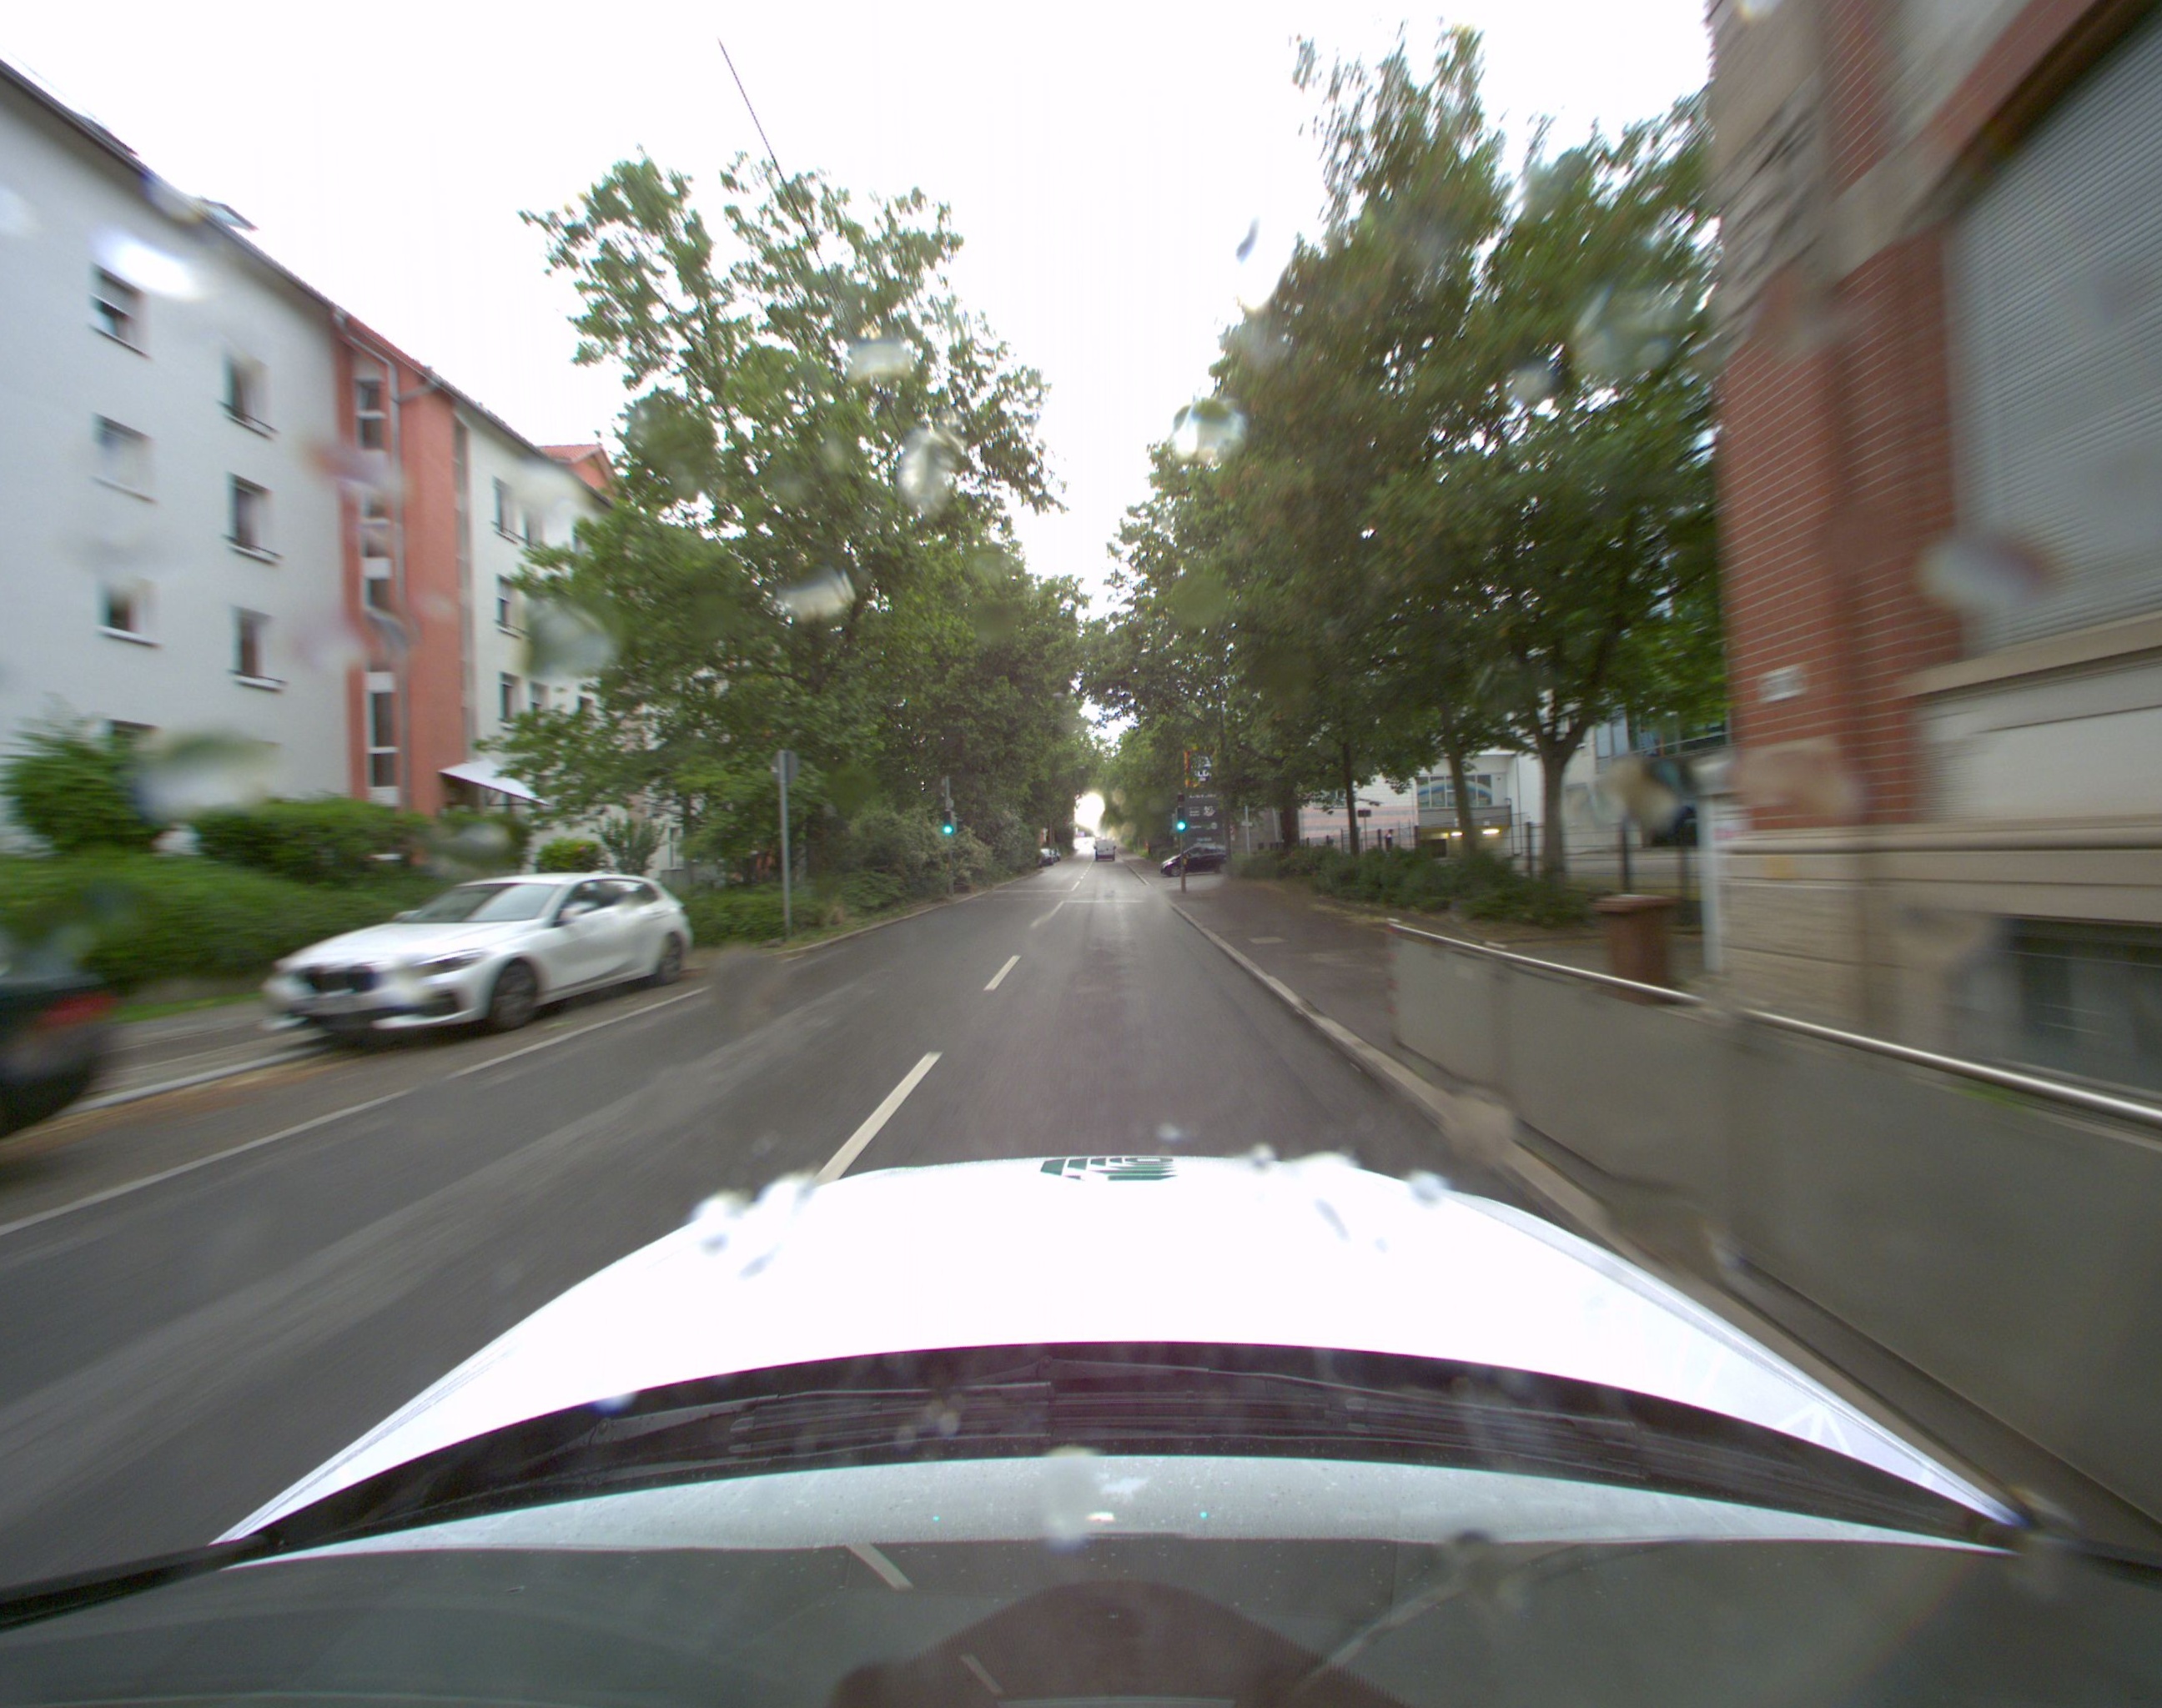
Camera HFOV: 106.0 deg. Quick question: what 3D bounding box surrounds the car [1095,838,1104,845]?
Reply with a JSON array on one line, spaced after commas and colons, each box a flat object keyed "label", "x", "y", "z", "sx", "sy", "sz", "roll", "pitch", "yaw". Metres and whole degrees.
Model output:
[{"label": "car", "x": 5.017, "y": -3.432, "z": 222.375, "sx": 2.149, "sy": 1.709, "sz": 3.879, "roll": 0, "pitch": -1, "yaw": 6}]

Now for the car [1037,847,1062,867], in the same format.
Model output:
[{"label": "car", "x": -2.736, "y": 0.222, "z": 71.350, "sx": 1.858, "sy": 1.591, "sz": 4.239, "roll": -4, "pitch": 1, "yaw": 0}]

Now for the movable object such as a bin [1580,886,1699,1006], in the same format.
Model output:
[{"label": "movable object such as a bin", "x": 4.784, "y": 0.768, "z": 7.009, "sx": 0.588, "sy": 0.932, "sz": 0.572, "roll": -4, "pitch": 0, "yaw": 1}]

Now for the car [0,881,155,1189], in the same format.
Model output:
[{"label": "car", "x": -6.065, "y": 0.900, "z": 2.451, "sx": 1.711, "sy": 1.467, "sz": 4.232, "roll": -1, "pitch": 0, "yaw": -1}]

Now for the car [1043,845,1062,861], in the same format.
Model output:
[{"label": "car", "x": -3.040, "y": -0.157, "z": 87.833, "sx": 1.642, "sy": 1.537, "sz": 4.019, "roll": -6, "pitch": 1, "yaw": 1}]

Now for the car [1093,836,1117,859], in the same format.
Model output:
[{"label": "car", "x": 2.539, "y": -0.654, "z": 85.893, "sx": 2.327, "sy": 2.231, "sz": 4.002, "roll": -3, "pitch": 0, "yaw": 2}]

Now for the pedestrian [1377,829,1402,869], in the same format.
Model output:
[{"label": "pedestrian", "x": 14.470, "y": -0.244, "z": 38.202, "sx": 0.825, "sy": 1.828, "sz": 0.961, "roll": -1, "pitch": 0, "yaw": 5}]

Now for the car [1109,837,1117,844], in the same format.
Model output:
[{"label": "car", "x": 8.596, "y": -3.507, "z": 217.922, "sx": 1.921, "sy": 1.709, "sz": 3.879, "roll": 0, "pitch": -1, "yaw": 6}]

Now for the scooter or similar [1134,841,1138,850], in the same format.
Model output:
[{"label": "scooter or similar", "x": 7.561, "y": -1.192, "z": 112.342, "sx": 0.424, "sy": 1.142, "sz": 1.529, "roll": 0, "pitch": -1, "yaw": 0}]

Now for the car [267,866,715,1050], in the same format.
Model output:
[{"label": "car", "x": -6.003, "y": 0.924, "z": 9.095, "sx": 1.710, "sy": 1.467, "sz": 4.312, "roll": -1, "pitch": 0, "yaw": 2}]

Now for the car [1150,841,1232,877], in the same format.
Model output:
[{"label": "car", "x": 5.780, "y": 0.260, "z": 43.051, "sx": 3.842, "sy": 1.547, "sz": 2.023, "roll": -5, "pitch": 0, "yaw": -5}]
